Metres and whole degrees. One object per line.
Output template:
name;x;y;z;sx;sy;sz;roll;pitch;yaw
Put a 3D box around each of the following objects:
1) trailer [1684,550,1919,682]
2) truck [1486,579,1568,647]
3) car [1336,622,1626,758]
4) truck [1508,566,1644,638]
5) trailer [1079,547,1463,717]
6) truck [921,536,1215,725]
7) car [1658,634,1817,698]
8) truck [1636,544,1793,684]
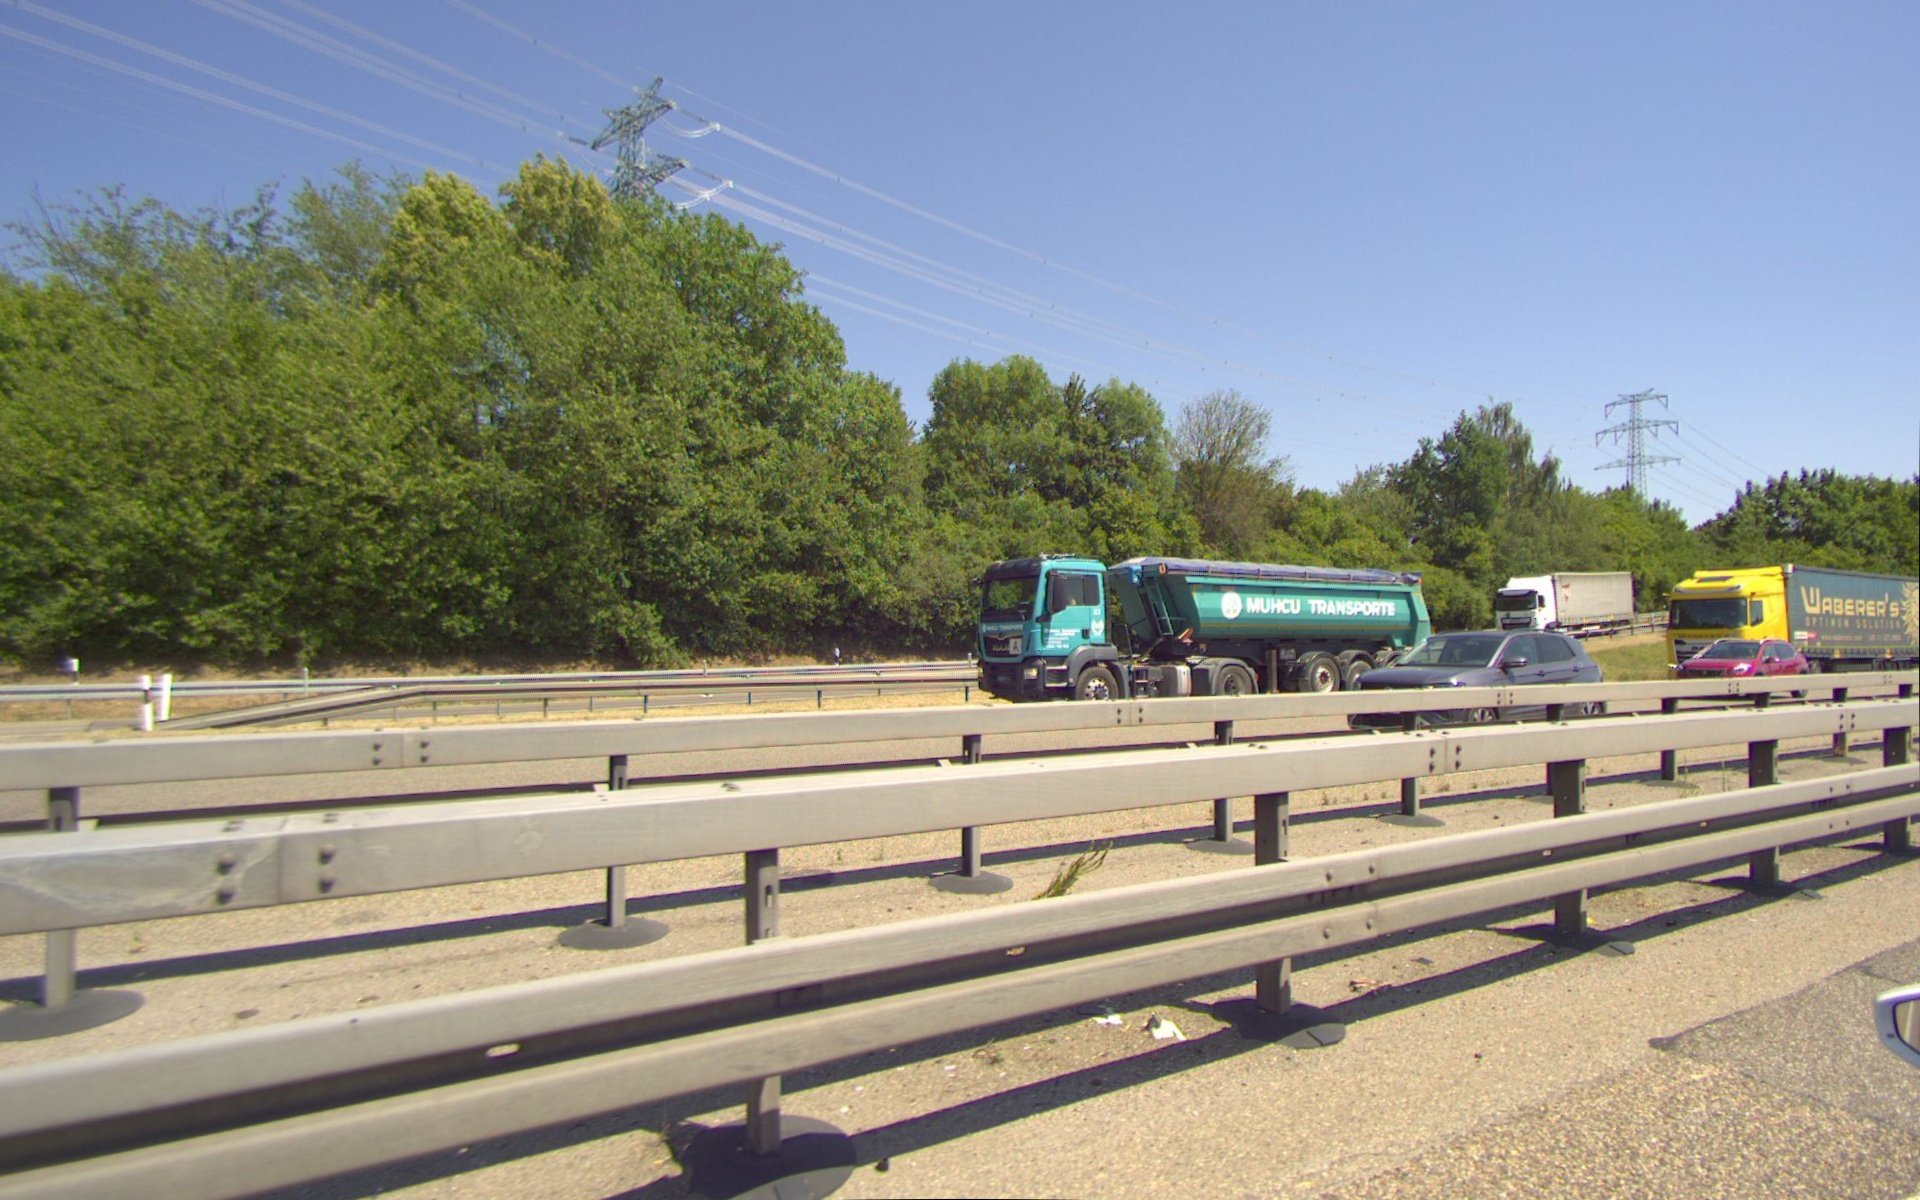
trailer;32.785;0.697;38.396;13.654;4.398;3.159;1;-2;-31
truck;34.533;0.778;61.148;4.286;3.948;2.921;-1;0;-39
car;7.298;1.163;14.013;3.953;1.646;1.774;1;-2;-30
truck;40.974;0.032;66.413;14.418;4.399;2.973;-1;0;-39
trailer;7.493;0.746;23.491;9.596;3.344;2.900;1;-2;-31
truck;2.208;0.627;20.360;5.268;3.344;2.900;1;-2;-30
car;20.264;1.696;26.163;4.334;1.550;1.774;1;-4;-31
truck;25.449;0.505;33.954;3.472;4.398;3.159;1;-2;-31
